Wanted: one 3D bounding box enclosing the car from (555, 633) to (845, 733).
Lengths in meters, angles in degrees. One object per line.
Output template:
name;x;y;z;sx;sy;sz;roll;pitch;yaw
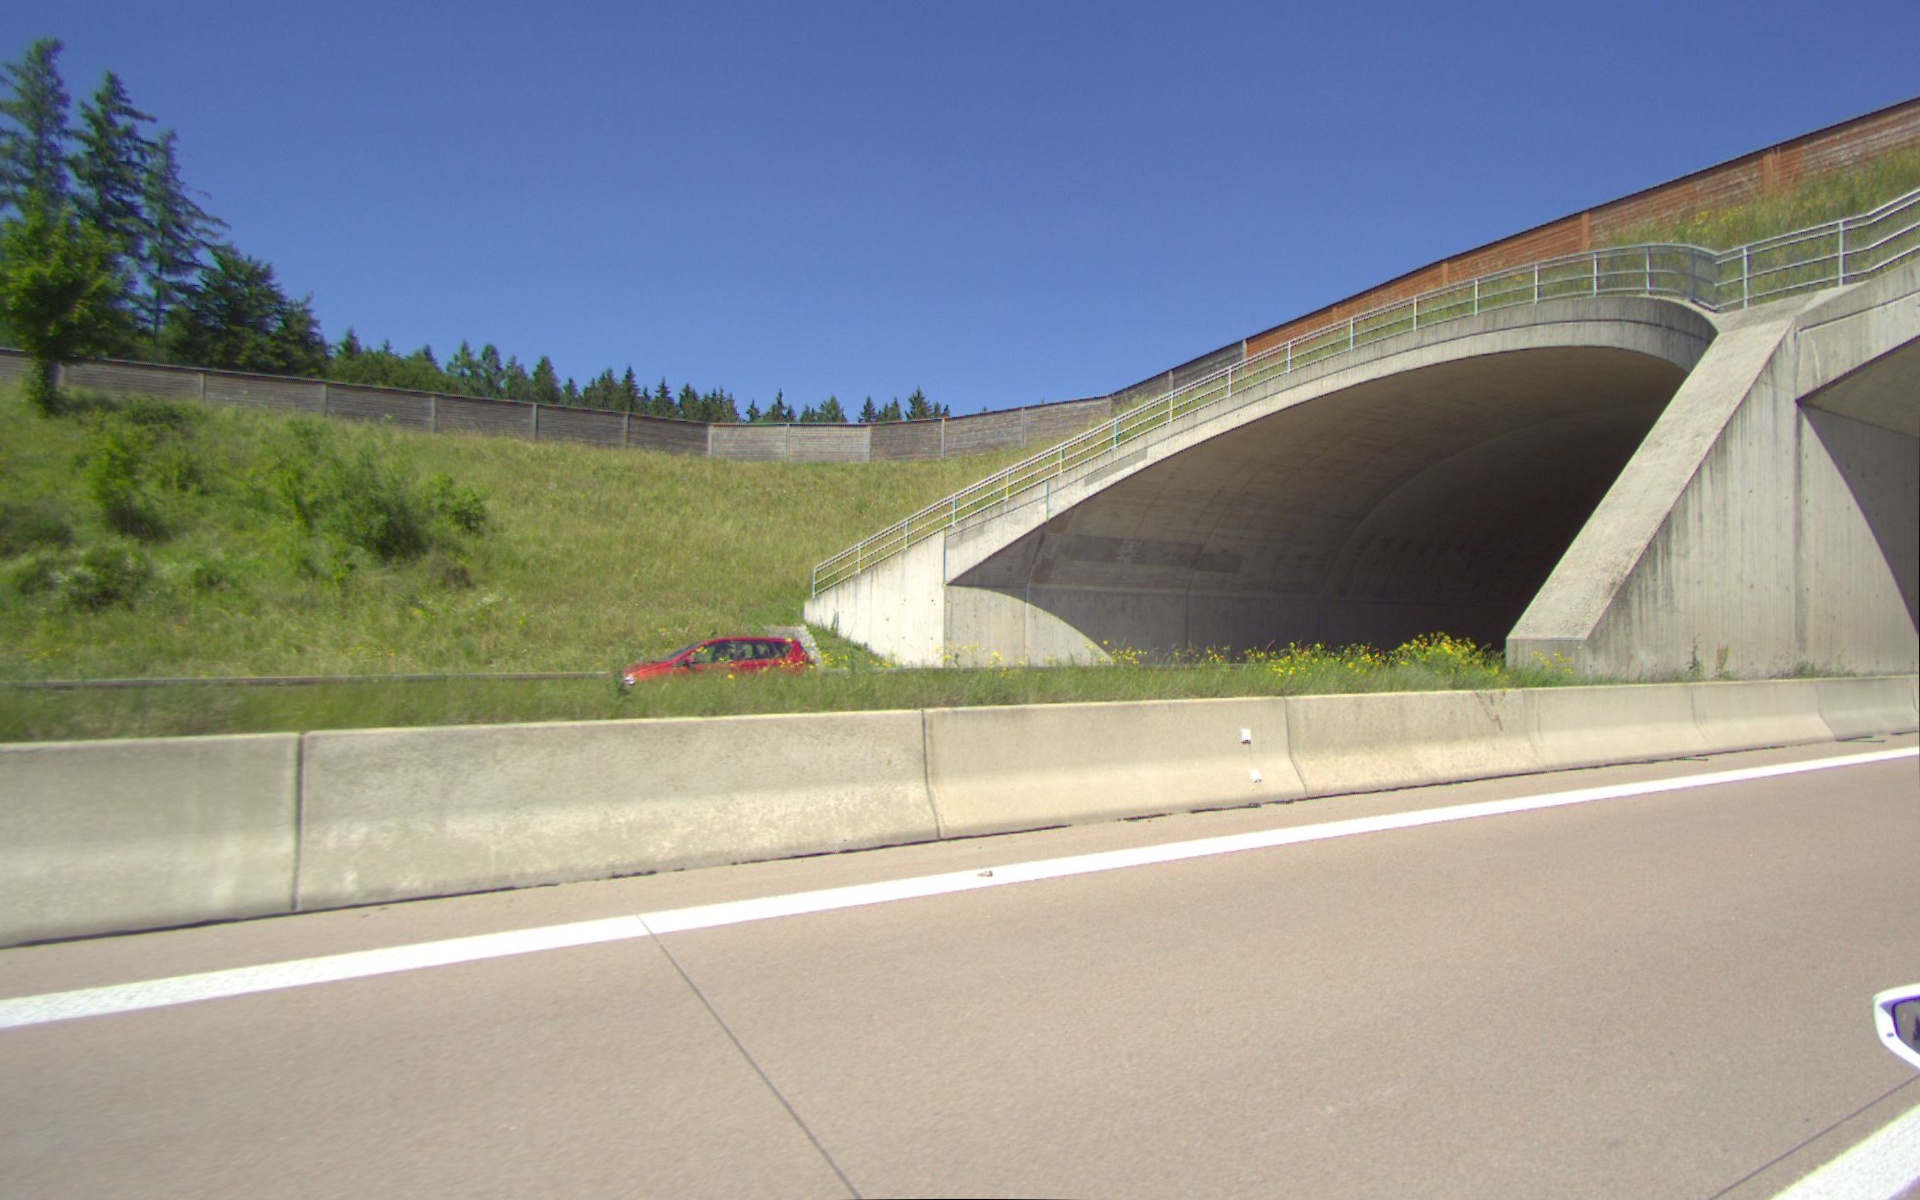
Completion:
car;-4.776;1.454;18.691;4.919;1.615;1.882;1;-1;-30
